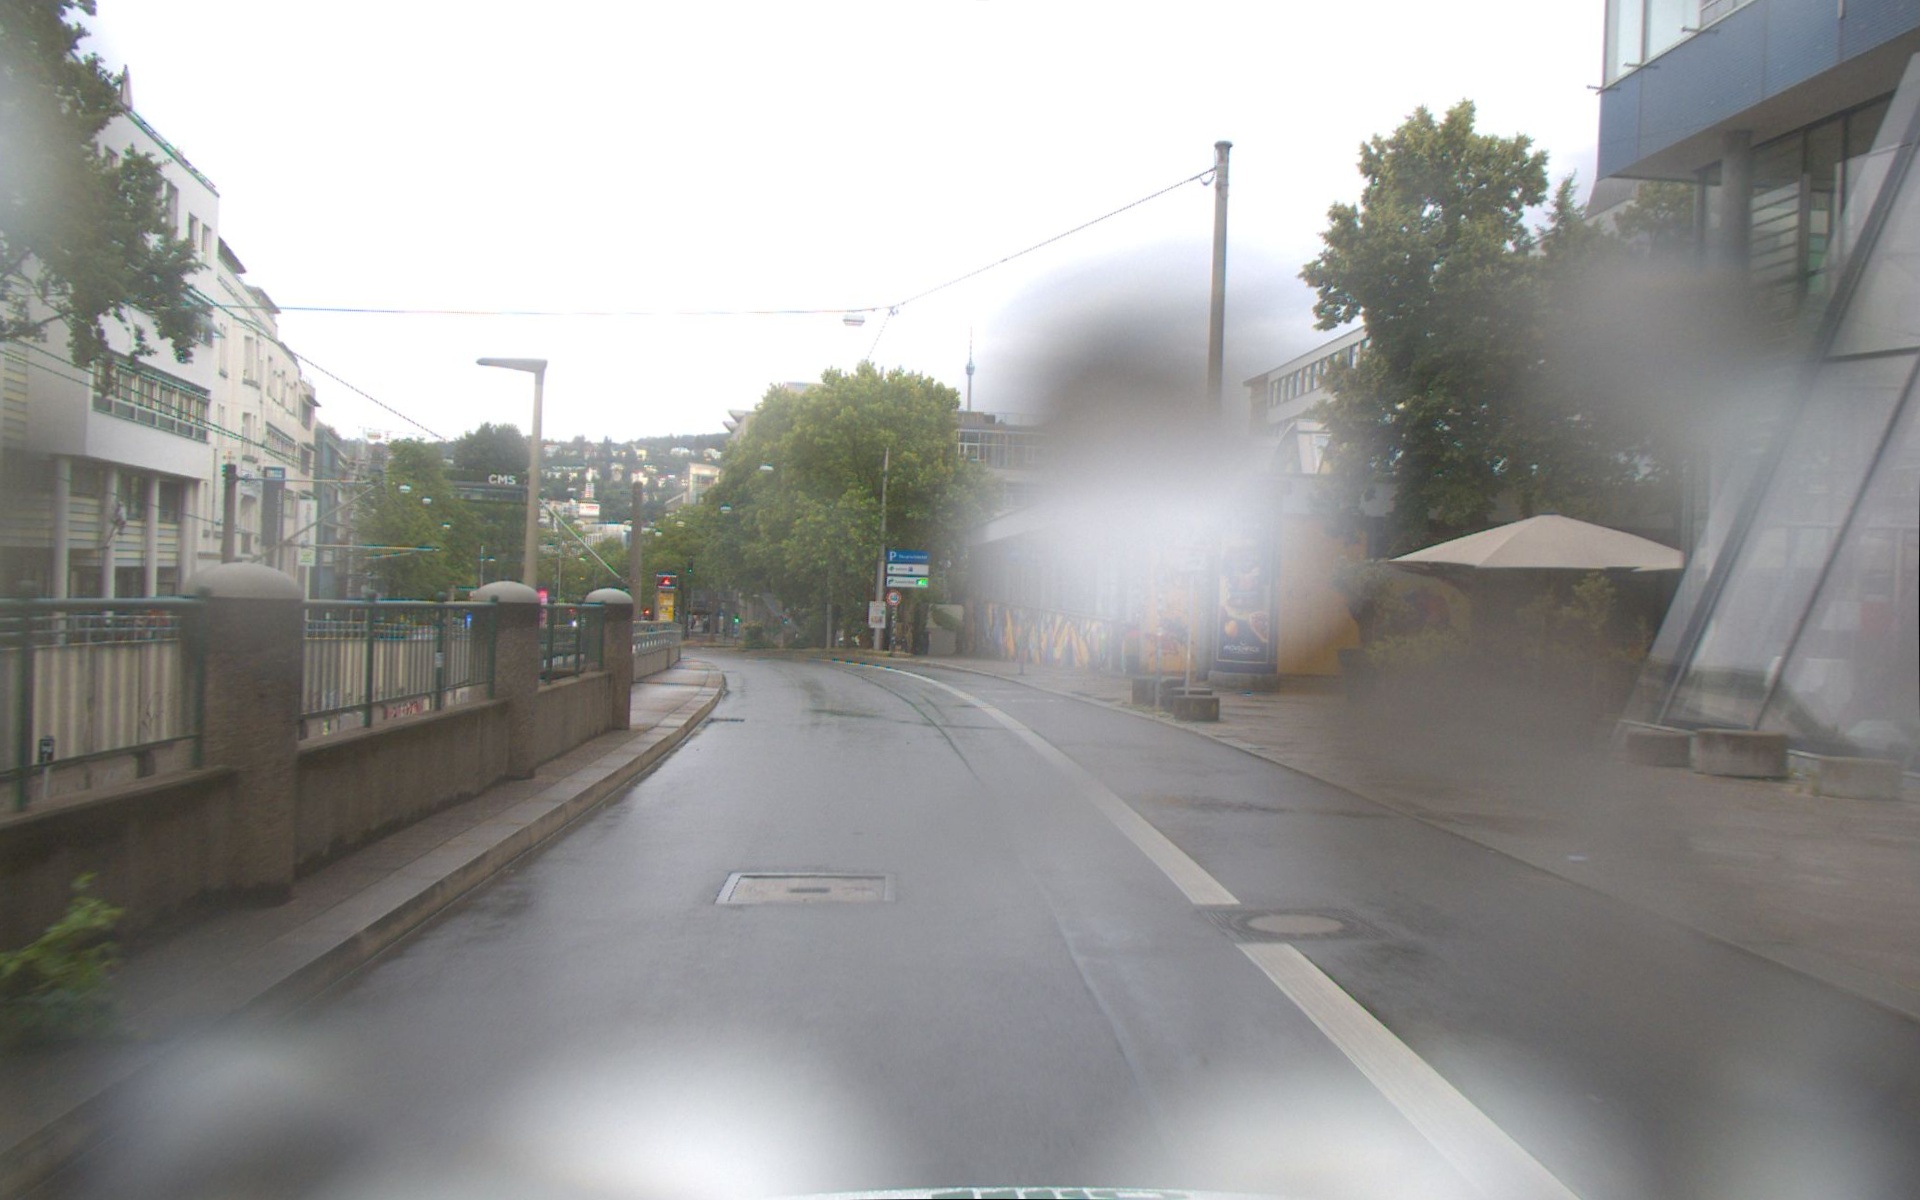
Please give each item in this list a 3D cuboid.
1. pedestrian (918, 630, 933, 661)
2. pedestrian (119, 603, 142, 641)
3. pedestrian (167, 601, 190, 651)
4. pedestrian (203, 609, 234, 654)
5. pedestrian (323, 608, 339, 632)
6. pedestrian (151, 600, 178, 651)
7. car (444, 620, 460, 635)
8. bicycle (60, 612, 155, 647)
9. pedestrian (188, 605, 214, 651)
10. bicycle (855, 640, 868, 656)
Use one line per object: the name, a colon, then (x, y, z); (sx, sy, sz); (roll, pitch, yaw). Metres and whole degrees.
pedestrian: (-2.089, 2.770, 100.648); (0.791, 1.897, 1.054); (0, -2, -7)
pedestrian: (-31.323, 0.830, 62.460); (0.596, 1.444, 0.672); (2, -1, -11)
pedestrian: (-28.950, 0.963, 61.262); (0.664, 1.816, 0.932); (2, -2, -31)
pedestrian: (-28.010, 1.205, 62.468); (0.778, 1.671, 0.672); (1, -1, 29)
pedestrian: (-52.148, 1.665, 137.197); (0.846, 1.901, 0.960); (2, -2, 3)
pedestrian: (-26.282, 0.844, 54.635); (0.664, 1.644, 0.932); (2, -1, -31)
car: (-59.881, 3.203, 194.967); (1.752, 1.583, 3.876); (2, 0, -16)
bicycle: (-29.120, 0.997, 56.640); (1.663, 1.062, 4.508); (4, -2, -12)
pedestrian: (-29.001, 1.072, 63.190); (0.597, 1.752, 0.671); (0, -2, 34)
bicycle: (-7.354, 3.583, 123.477); (0.791, 1.131, 2.193); (1, -2, -9)
